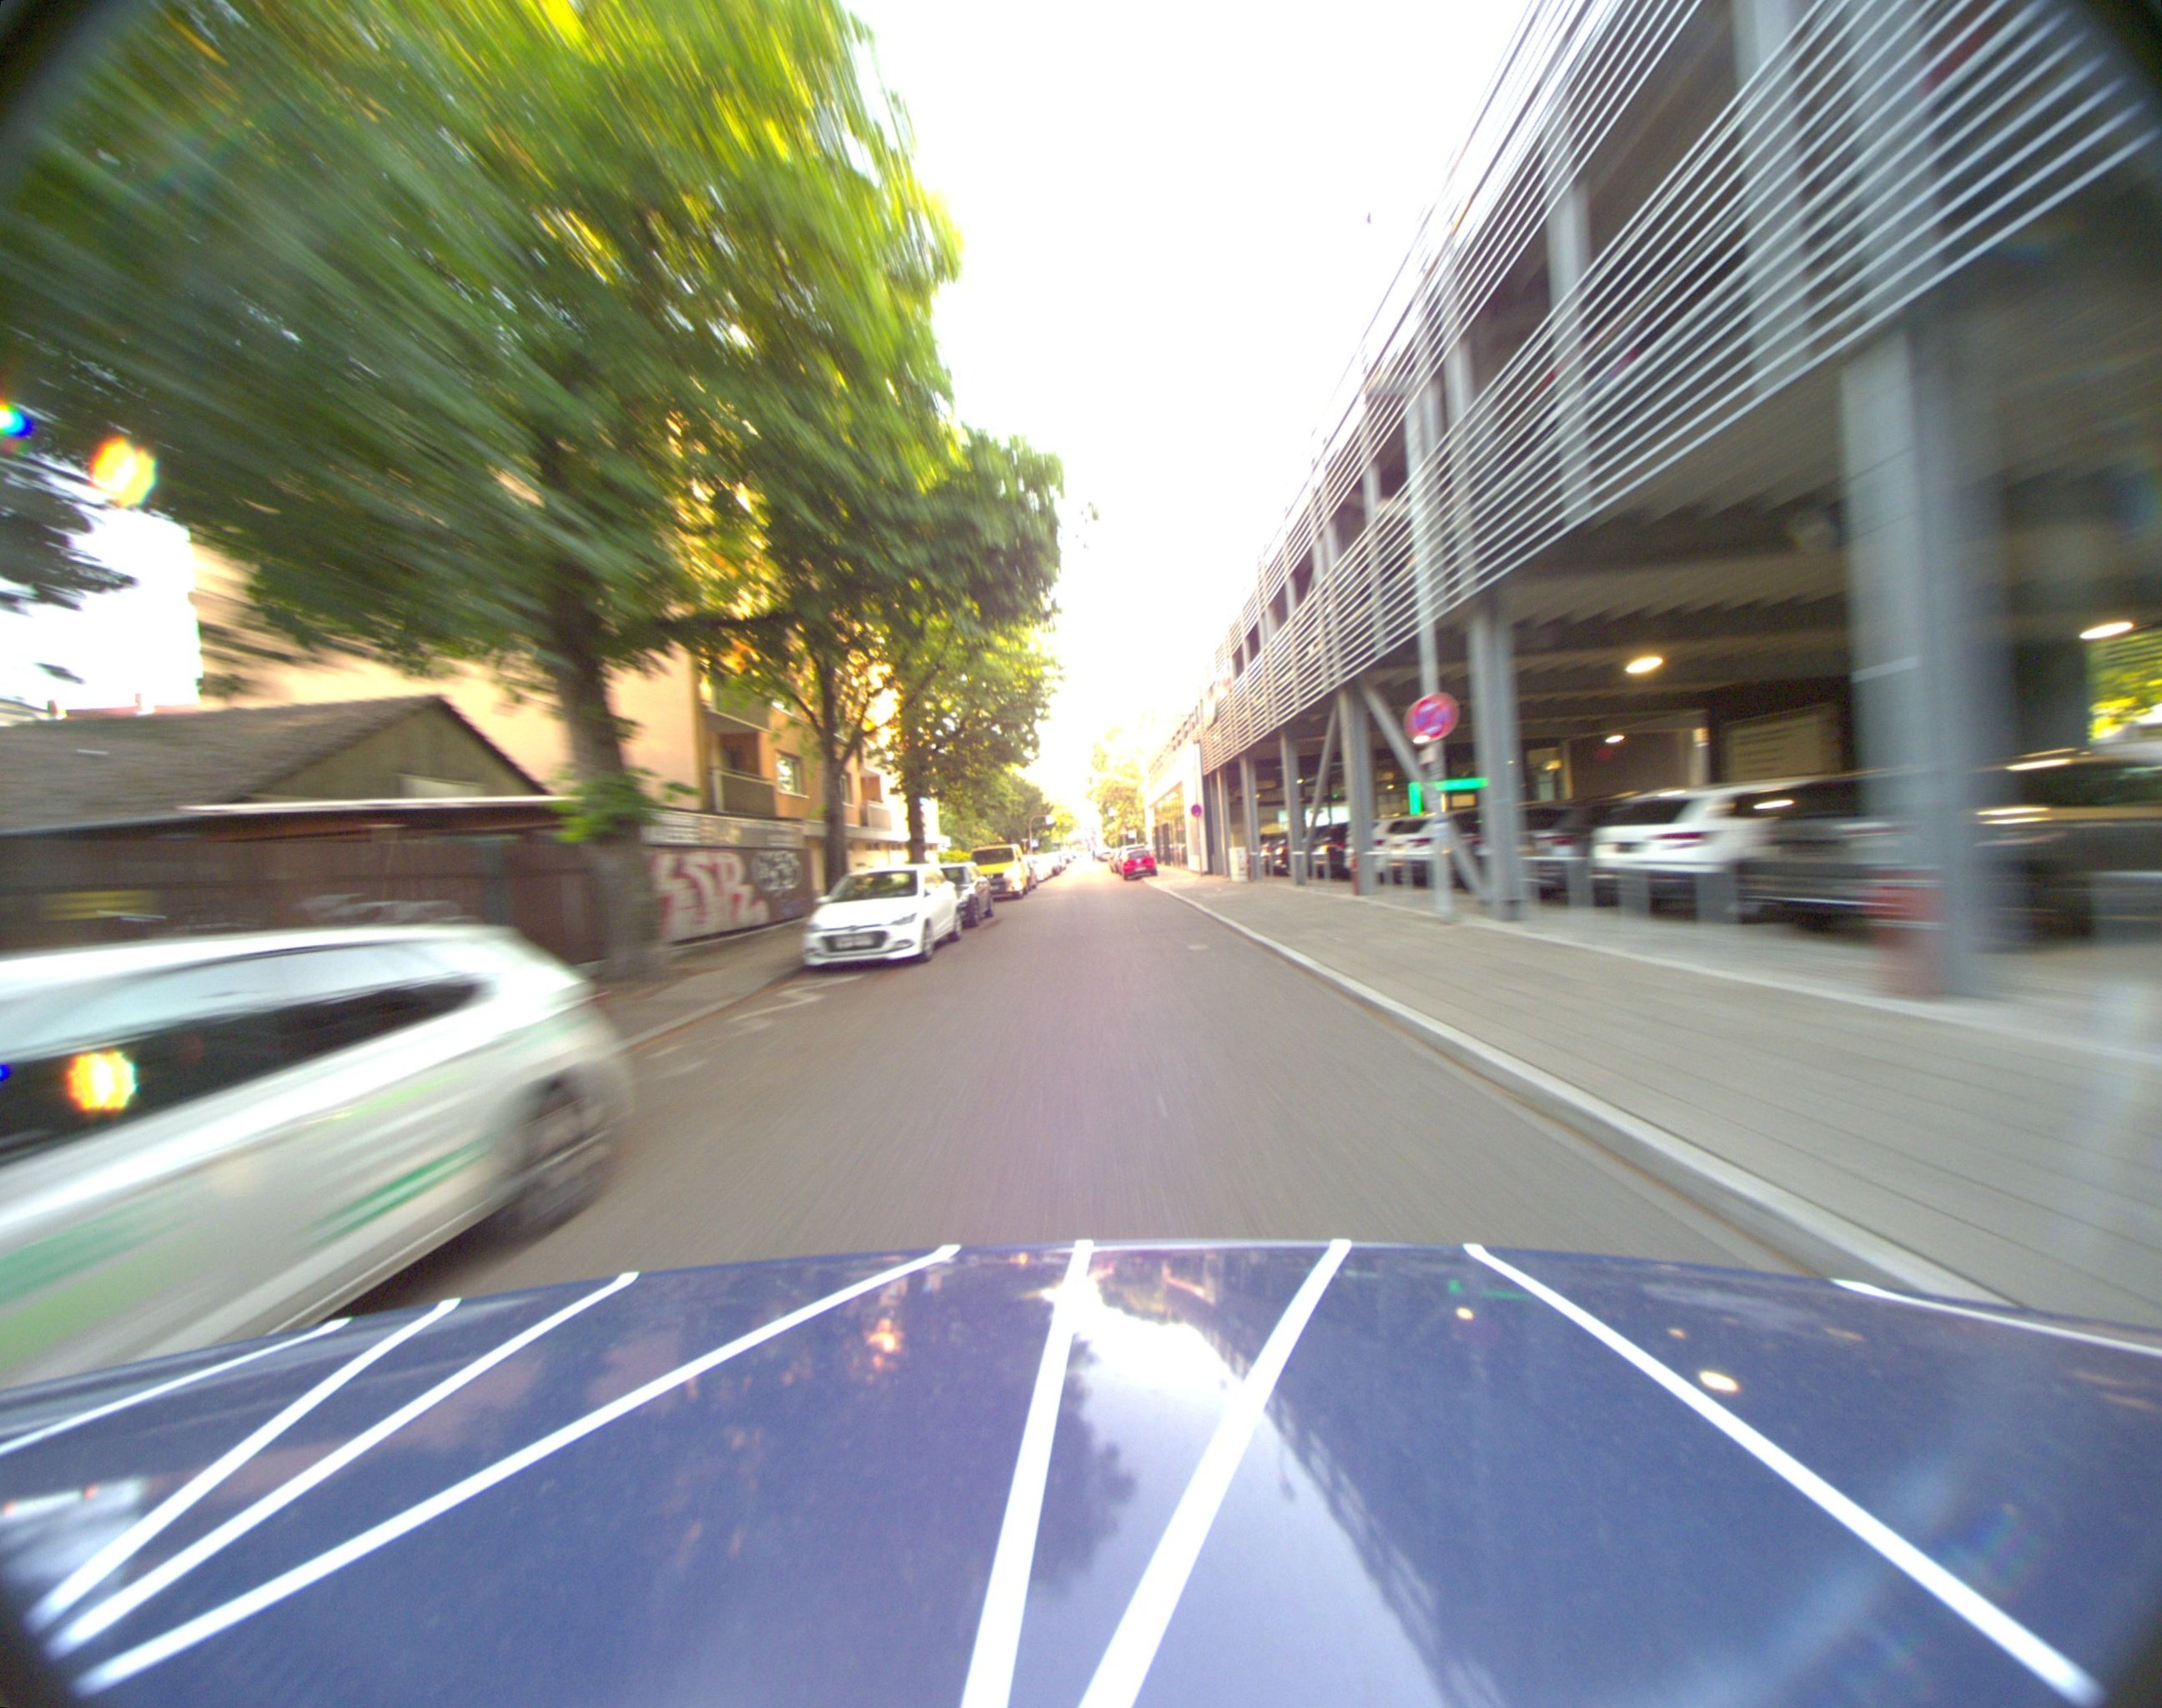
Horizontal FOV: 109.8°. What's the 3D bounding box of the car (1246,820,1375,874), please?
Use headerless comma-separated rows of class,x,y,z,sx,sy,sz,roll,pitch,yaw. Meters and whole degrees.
car,8.493,-0.235,28.387,4.176,1.674,1.860,-4,0,2

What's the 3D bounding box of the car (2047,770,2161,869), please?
car,18.928,-0.671,12.320,3.996,1.549,1.860,-4,0,2

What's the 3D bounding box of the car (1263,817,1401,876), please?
car,8.513,-0.244,26.029,4.045,1.674,1.860,-4,0,2

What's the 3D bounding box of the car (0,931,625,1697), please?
car,-3.249,1.158,1.823,1.764,1.433,4.005,-4,0,1

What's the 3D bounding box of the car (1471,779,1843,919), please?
car,8.494,-0.060,11.528,4.113,1.674,1.860,-4,0,2

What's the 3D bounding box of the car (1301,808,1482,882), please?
car,8.461,-0.226,20.981,4.159,1.674,1.860,-4,0,2

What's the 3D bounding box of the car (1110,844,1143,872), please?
car,2.975,0.255,50.334,1.942,1.587,4.205,-4,0,2

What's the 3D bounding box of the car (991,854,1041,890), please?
car,-2.782,0.759,33.389,1.610,1.373,4.001,-4,0,2

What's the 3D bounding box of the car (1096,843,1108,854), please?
car,4.154,-1.084,151.002,1.964,1.826,3.883,-9,0,-2

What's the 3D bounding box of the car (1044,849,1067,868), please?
car,-2.278,0.348,68.913,1.814,1.566,3.884,-4,0,0

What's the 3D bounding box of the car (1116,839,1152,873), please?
car,2.996,0.088,43.678,1.702,1.746,4.403,-4,0,0

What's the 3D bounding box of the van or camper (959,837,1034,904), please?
van or camper,-2.978,0.554,27.761,2.069,2.083,5.090,-4,0,0

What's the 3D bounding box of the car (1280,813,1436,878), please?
car,8.429,-0.246,23.390,4.045,1.674,1.860,-4,0,2

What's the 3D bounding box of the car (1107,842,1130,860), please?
car,3.745,-0.285,76.346,1.666,1.505,3.883,-7,0,-5

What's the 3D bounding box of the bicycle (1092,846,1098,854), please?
bicycle,2.243,-0.644,121.686,0.761,1.090,1.864,-2,1,-2

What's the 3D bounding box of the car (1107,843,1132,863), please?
car,3.339,-0.064,66.163,1.666,1.402,3.926,-9,0,-3

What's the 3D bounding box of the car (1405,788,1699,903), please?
car,8.427,-0.141,13.895,4.113,1.674,1.860,-4,0,2

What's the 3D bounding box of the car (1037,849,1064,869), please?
car,-2.332,0.341,59.213,1.814,1.408,3.896,-4,0,1

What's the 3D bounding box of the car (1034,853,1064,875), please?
car,-2.217,0.666,53.362,1.814,1.408,4.625,-4,0,0

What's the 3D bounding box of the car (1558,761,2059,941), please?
car,8.429,-0.025,9.146,4.113,1.674,1.860,-4,0,2

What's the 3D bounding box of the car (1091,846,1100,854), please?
car,3.636,-0.956,187.361,1.786,1.772,4.011,-6,0,-2

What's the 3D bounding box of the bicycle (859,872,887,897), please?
bicycle,-8.248,1.202,30.201,0.524,0.916,1.835,-4,0,0

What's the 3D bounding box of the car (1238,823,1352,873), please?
car,8.590,-0.234,30.757,4.052,1.674,1.860,-4,0,2

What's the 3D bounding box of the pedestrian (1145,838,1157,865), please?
pedestrian,4.981,-0.188,54.075,0.722,1.867,0.620,-4,0,2

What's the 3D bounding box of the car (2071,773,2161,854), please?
car,24.246,-0.965,16.063,4.033,1.674,1.860,-4,0,2

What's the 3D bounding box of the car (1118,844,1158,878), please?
car,2.821,0.317,38.262,1.702,1.497,3.790,-4,0,0

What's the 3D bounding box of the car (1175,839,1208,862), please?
car,7.966,-0.251,55.161,1.702,1.506,4.192,-4,0,0

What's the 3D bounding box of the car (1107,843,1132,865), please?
car,3.023,-0.027,60.044,1.666,1.489,3.884,-9,0,2

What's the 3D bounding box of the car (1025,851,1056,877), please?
car,-2.500,0.603,48.125,1.614,1.453,4.054,-4,0,0

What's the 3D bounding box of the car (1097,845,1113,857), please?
car,3.284,-0.390,104.534,1.786,1.442,3.883,-9,0,-2

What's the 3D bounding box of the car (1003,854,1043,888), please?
car,-2.897,0.816,38.459,1.614,1.502,3.477,-4,0,0

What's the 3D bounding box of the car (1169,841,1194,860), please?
car,8.676,-0.307,66.045,1.597,1.514,3.876,-4,0,0

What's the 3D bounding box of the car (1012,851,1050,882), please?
car,-2.787,0.670,43.153,1.796,1.553,4.193,-4,0,0

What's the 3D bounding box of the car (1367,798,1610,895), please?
car,8.562,-0.151,16.248,4.093,1.674,1.860,-4,0,2

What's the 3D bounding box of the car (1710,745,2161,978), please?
car,8.480,-0.006,6.776,4.074,1.674,1.860,-4,0,2

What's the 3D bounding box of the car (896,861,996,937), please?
car,-2.976,0.947,17.382,1.567,1.442,3.453,-4,0,0

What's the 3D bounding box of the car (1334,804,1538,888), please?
car,8.546,-0.183,18.570,4.035,1.674,1.860,-4,0,2

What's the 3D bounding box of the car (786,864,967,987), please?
car,-3.071,0.994,12.313,1.726,1.510,4.025,-4,0,0

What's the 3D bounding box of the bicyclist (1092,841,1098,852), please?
bicyclist,2.199,-1.192,121.668,0.861,1.797,1.016,-4,0,-2
